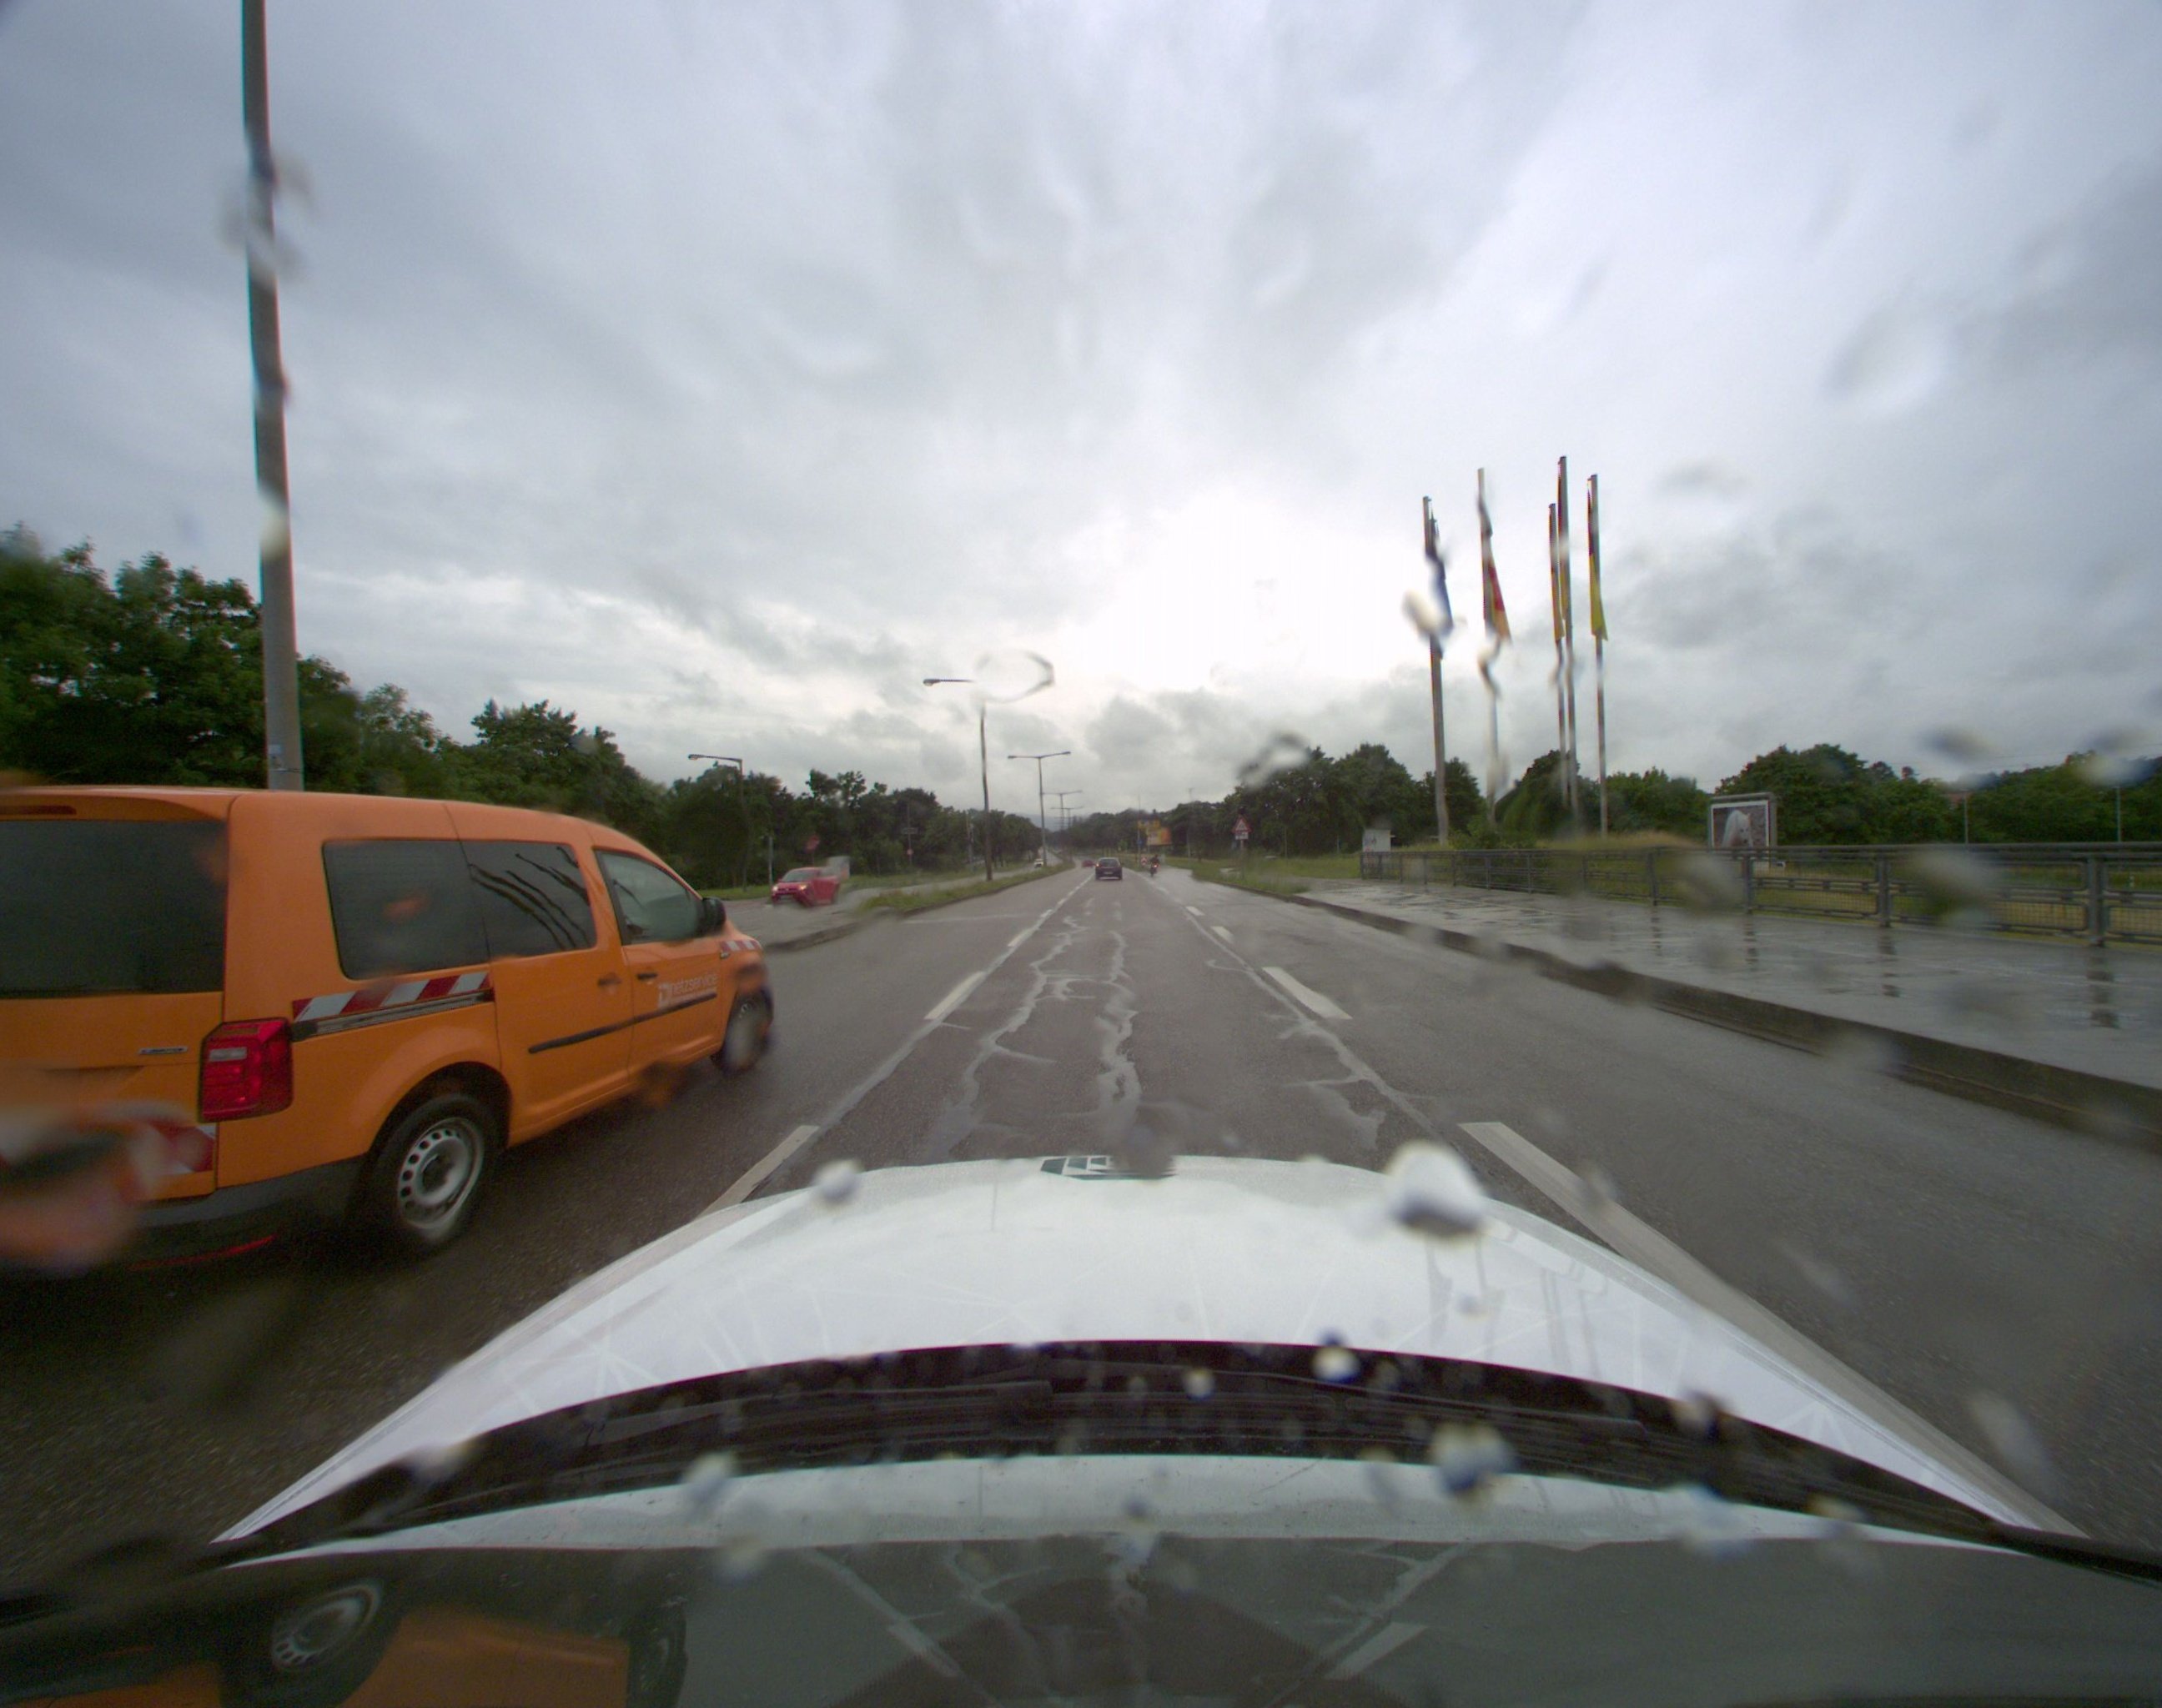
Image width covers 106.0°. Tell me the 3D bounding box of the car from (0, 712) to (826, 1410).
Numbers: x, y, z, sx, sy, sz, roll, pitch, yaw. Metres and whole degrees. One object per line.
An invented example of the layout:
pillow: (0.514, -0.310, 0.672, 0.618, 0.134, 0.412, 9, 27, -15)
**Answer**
car: (-3.212, 0.638, 4.806, 1.728, 2.019, 4.851, -1, -1, 2)

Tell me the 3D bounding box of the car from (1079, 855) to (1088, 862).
car: (0.673, 1.380, 256.653, 2.510, 2.052, 5.288, -2, -1, -3)

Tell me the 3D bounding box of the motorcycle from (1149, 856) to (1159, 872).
motorcycle: (5.435, 0.740, 60.889, 0.599, 1.093, 1.732, -1, 0, 1)

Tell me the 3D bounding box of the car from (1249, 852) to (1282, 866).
car: (21.596, 0.606, 95.200, 4.022, 1.618, 1.838, -1, 0, -43)

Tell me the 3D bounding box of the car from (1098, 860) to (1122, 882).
car: (1.822, 1.054, 51.809, 1.458, 1.329, 3.758, -1, 0, 1)

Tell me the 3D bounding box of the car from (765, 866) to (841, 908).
car: (-11.074, 1.279, 32.717, 1.654, 1.448, 3.558, -4, 0, 2)

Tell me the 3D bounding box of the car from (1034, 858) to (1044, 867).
car: (-8.189, 1.660, 159.180, 1.701, 1.629, 4.492, -4, 0, 1)

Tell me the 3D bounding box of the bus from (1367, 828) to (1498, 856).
bus: (42.905, -1.442, 99.847, 14.459, 2.679, 2.770, -2, 0, 8)

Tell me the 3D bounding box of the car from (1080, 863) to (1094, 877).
car: (0.917, 2.275, 116.786, 1.986, 1.879, 4.000, -1, 0, 1)

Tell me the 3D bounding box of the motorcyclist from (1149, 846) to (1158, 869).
motorcyclist: (5.413, 0.269, 60.870, 0.599, 1.690, 0.860, -1, 0, 1)
